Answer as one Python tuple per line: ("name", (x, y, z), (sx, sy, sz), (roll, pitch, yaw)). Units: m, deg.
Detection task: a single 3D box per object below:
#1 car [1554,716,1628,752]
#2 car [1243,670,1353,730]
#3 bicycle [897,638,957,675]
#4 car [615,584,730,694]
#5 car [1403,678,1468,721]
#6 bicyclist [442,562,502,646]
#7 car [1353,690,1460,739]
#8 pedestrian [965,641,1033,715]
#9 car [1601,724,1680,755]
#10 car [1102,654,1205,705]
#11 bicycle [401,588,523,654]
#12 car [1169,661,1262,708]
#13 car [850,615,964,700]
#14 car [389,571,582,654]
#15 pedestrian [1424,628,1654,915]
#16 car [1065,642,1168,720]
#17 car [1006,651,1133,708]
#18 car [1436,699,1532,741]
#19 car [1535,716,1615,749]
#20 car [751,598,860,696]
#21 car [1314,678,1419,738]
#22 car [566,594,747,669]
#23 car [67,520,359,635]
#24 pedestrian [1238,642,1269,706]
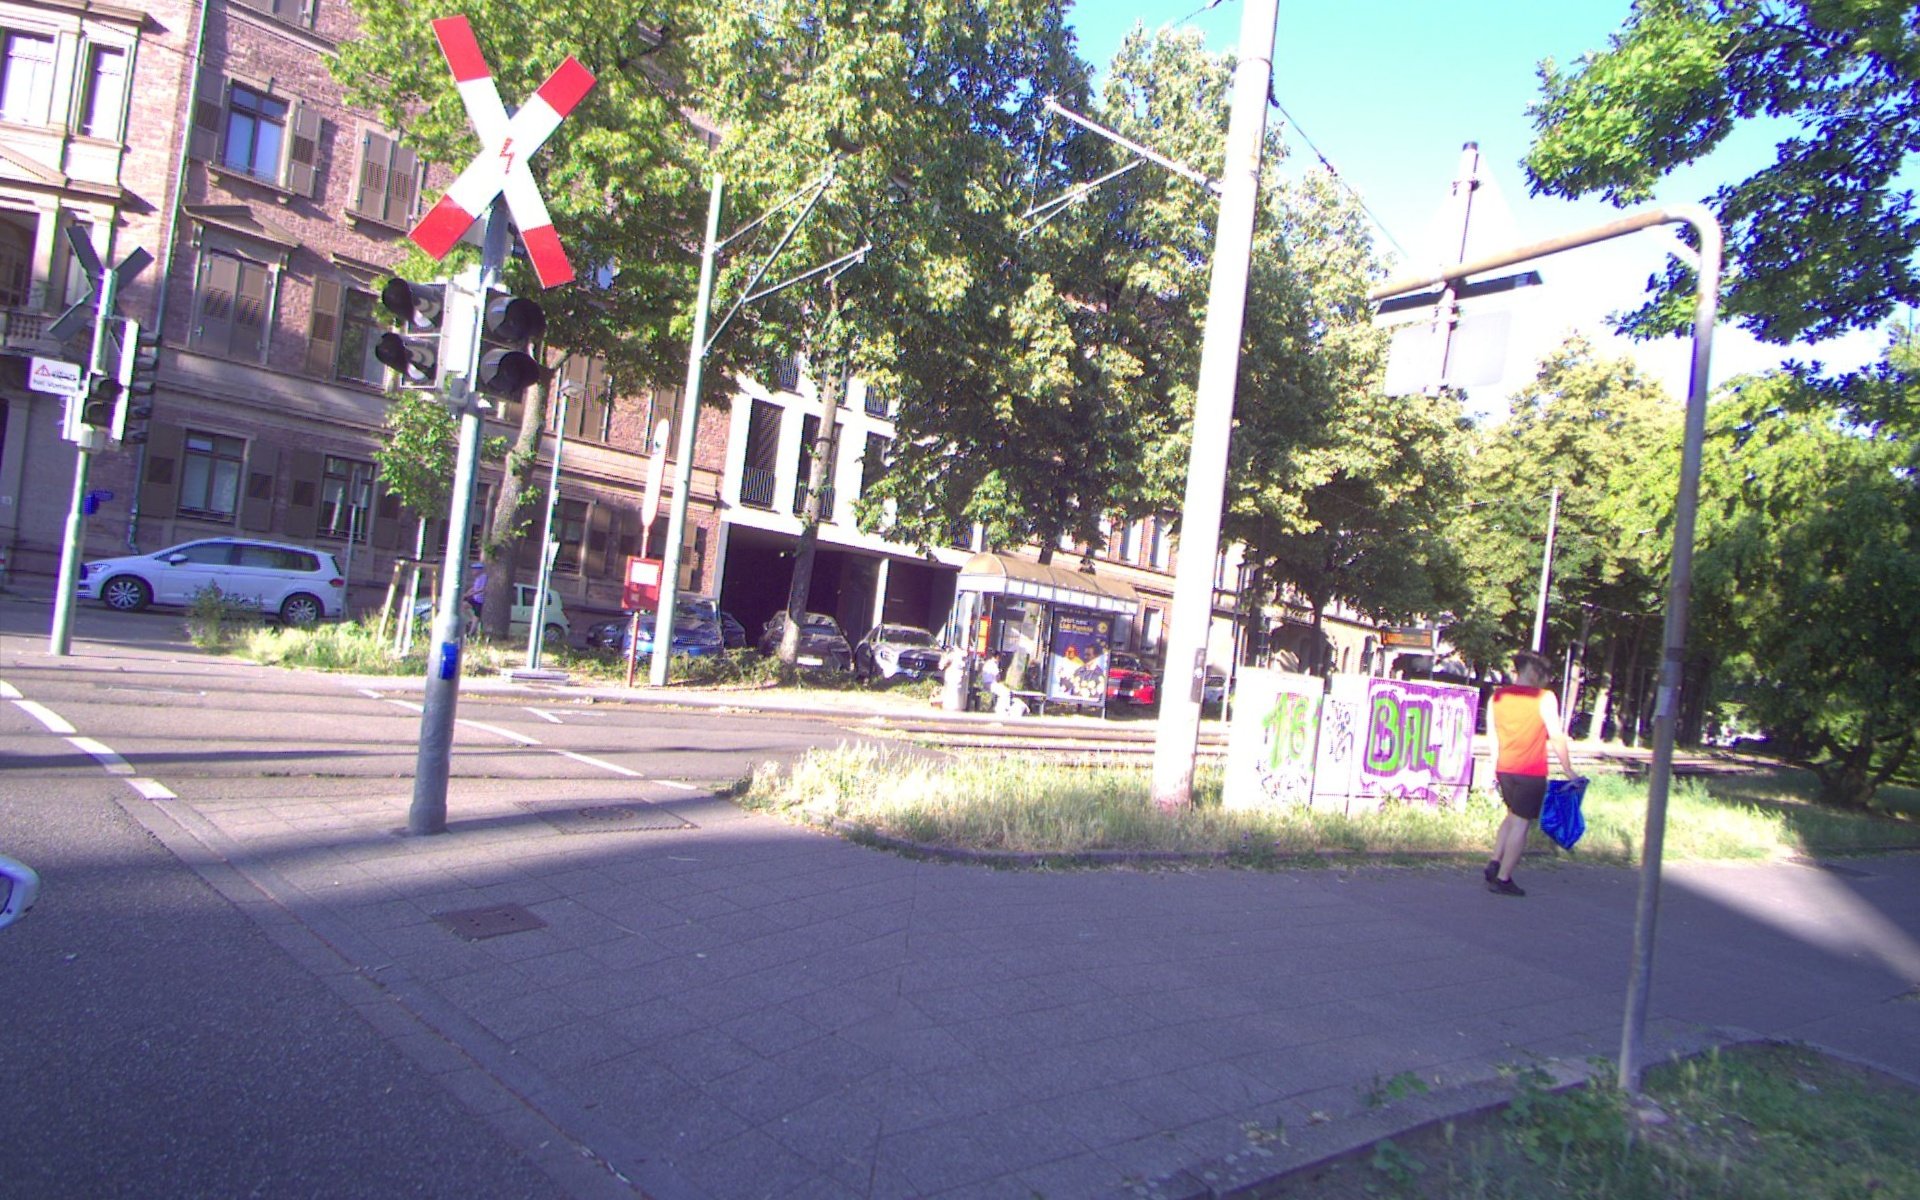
("car", (44.035, 9.352, 70.279), (1.727, 1.787, 3.977), (8, -1, -24))
("car", (11.605, 3.406, 34.886), (1.778, 1.504, 4.278), (8, -1, -7))
("bicycle", (-1.237, 2.150, 38.078), (2.063, 1.129, 0.681), (7, -1, -13))
("car", (-5.461, 0.744, 19.519), (1.714, 1.706, 4.412), (7, -3, -13))
("car", (29.332, 6.163, 62.013), (4.586, 2.198, 1.975), (9, -2, -44))
("bicyclist", (-10.175, 0.087, 20.969), (0.866, 1.606, 0.695), (9, -2, -33))
("car", (18.006, 4.592, 40.792), (1.779, 1.294, 4.275), (8, -1, -10))
("pedestrian", (0.758, 1.509, 19.423), (0.870, 1.288, 0.815), (8, -1, -40))
("car", (43.386, 8.884, 64.250), (1.720, 1.294, 3.993), (8, -1, -11))
("car", (7.917, 3.280, 41.013), (1.975, 1.586, 4.219), (7, -2, 45))
("bicycle", (-10.323, 0.442, 20.889), (2.105, 1.066, 0.695), (10, -3, -33))
("car", (11.310, 3.747, 44.374), (1.975, 1.586, 4.219), (7, -2, 45))
("car", (-1.356, 1.253, 23.368), (1.898, 1.504, 4.545), (8, -1, -11))
("car", (-11.174, 0.329, 23.825), (3.701, 1.506, 1.723), (9, -5, -42))
("pedestrian", (4.409, 1.273, 7.675), (1.138, 1.941, 0.898), (7, 0, -32))
("car", (4.336, 2.210, 28.571), (1.894, 1.742, 4.553), (8, -1, -1))
("car", (4.098, 2.957, 37.192), (4.563, 1.586, 1.977), (9, -2, -41))
("car", (24.336, 5.557, 46.889), (1.720, 1.294, 3.993), (8, -1, -11))
("car", (36.589, 7.870, 59.929), (1.720, 1.294, 3.993), (8, -1, -11))
("car", (-3.405, 0.926, 21.733), (1.898, 1.654, 4.545), (8, -1, -11))
("car", (15.811, 4.159, 39.388), (1.778, 1.715, 4.278), (8, -1, -7))
("car", (-7.956, 0.854, 26.545), (4.135, 1.506, 1.724), (9, -5, -40))
("car", (-14.978, -0.364, 20.388), (4.467, 1.667, 1.855), (9, -5, -40))
("pedestrian", (14.417, 3.636, 49.391), (0.696, 2.982, 0.909), (7, -1, -44))
